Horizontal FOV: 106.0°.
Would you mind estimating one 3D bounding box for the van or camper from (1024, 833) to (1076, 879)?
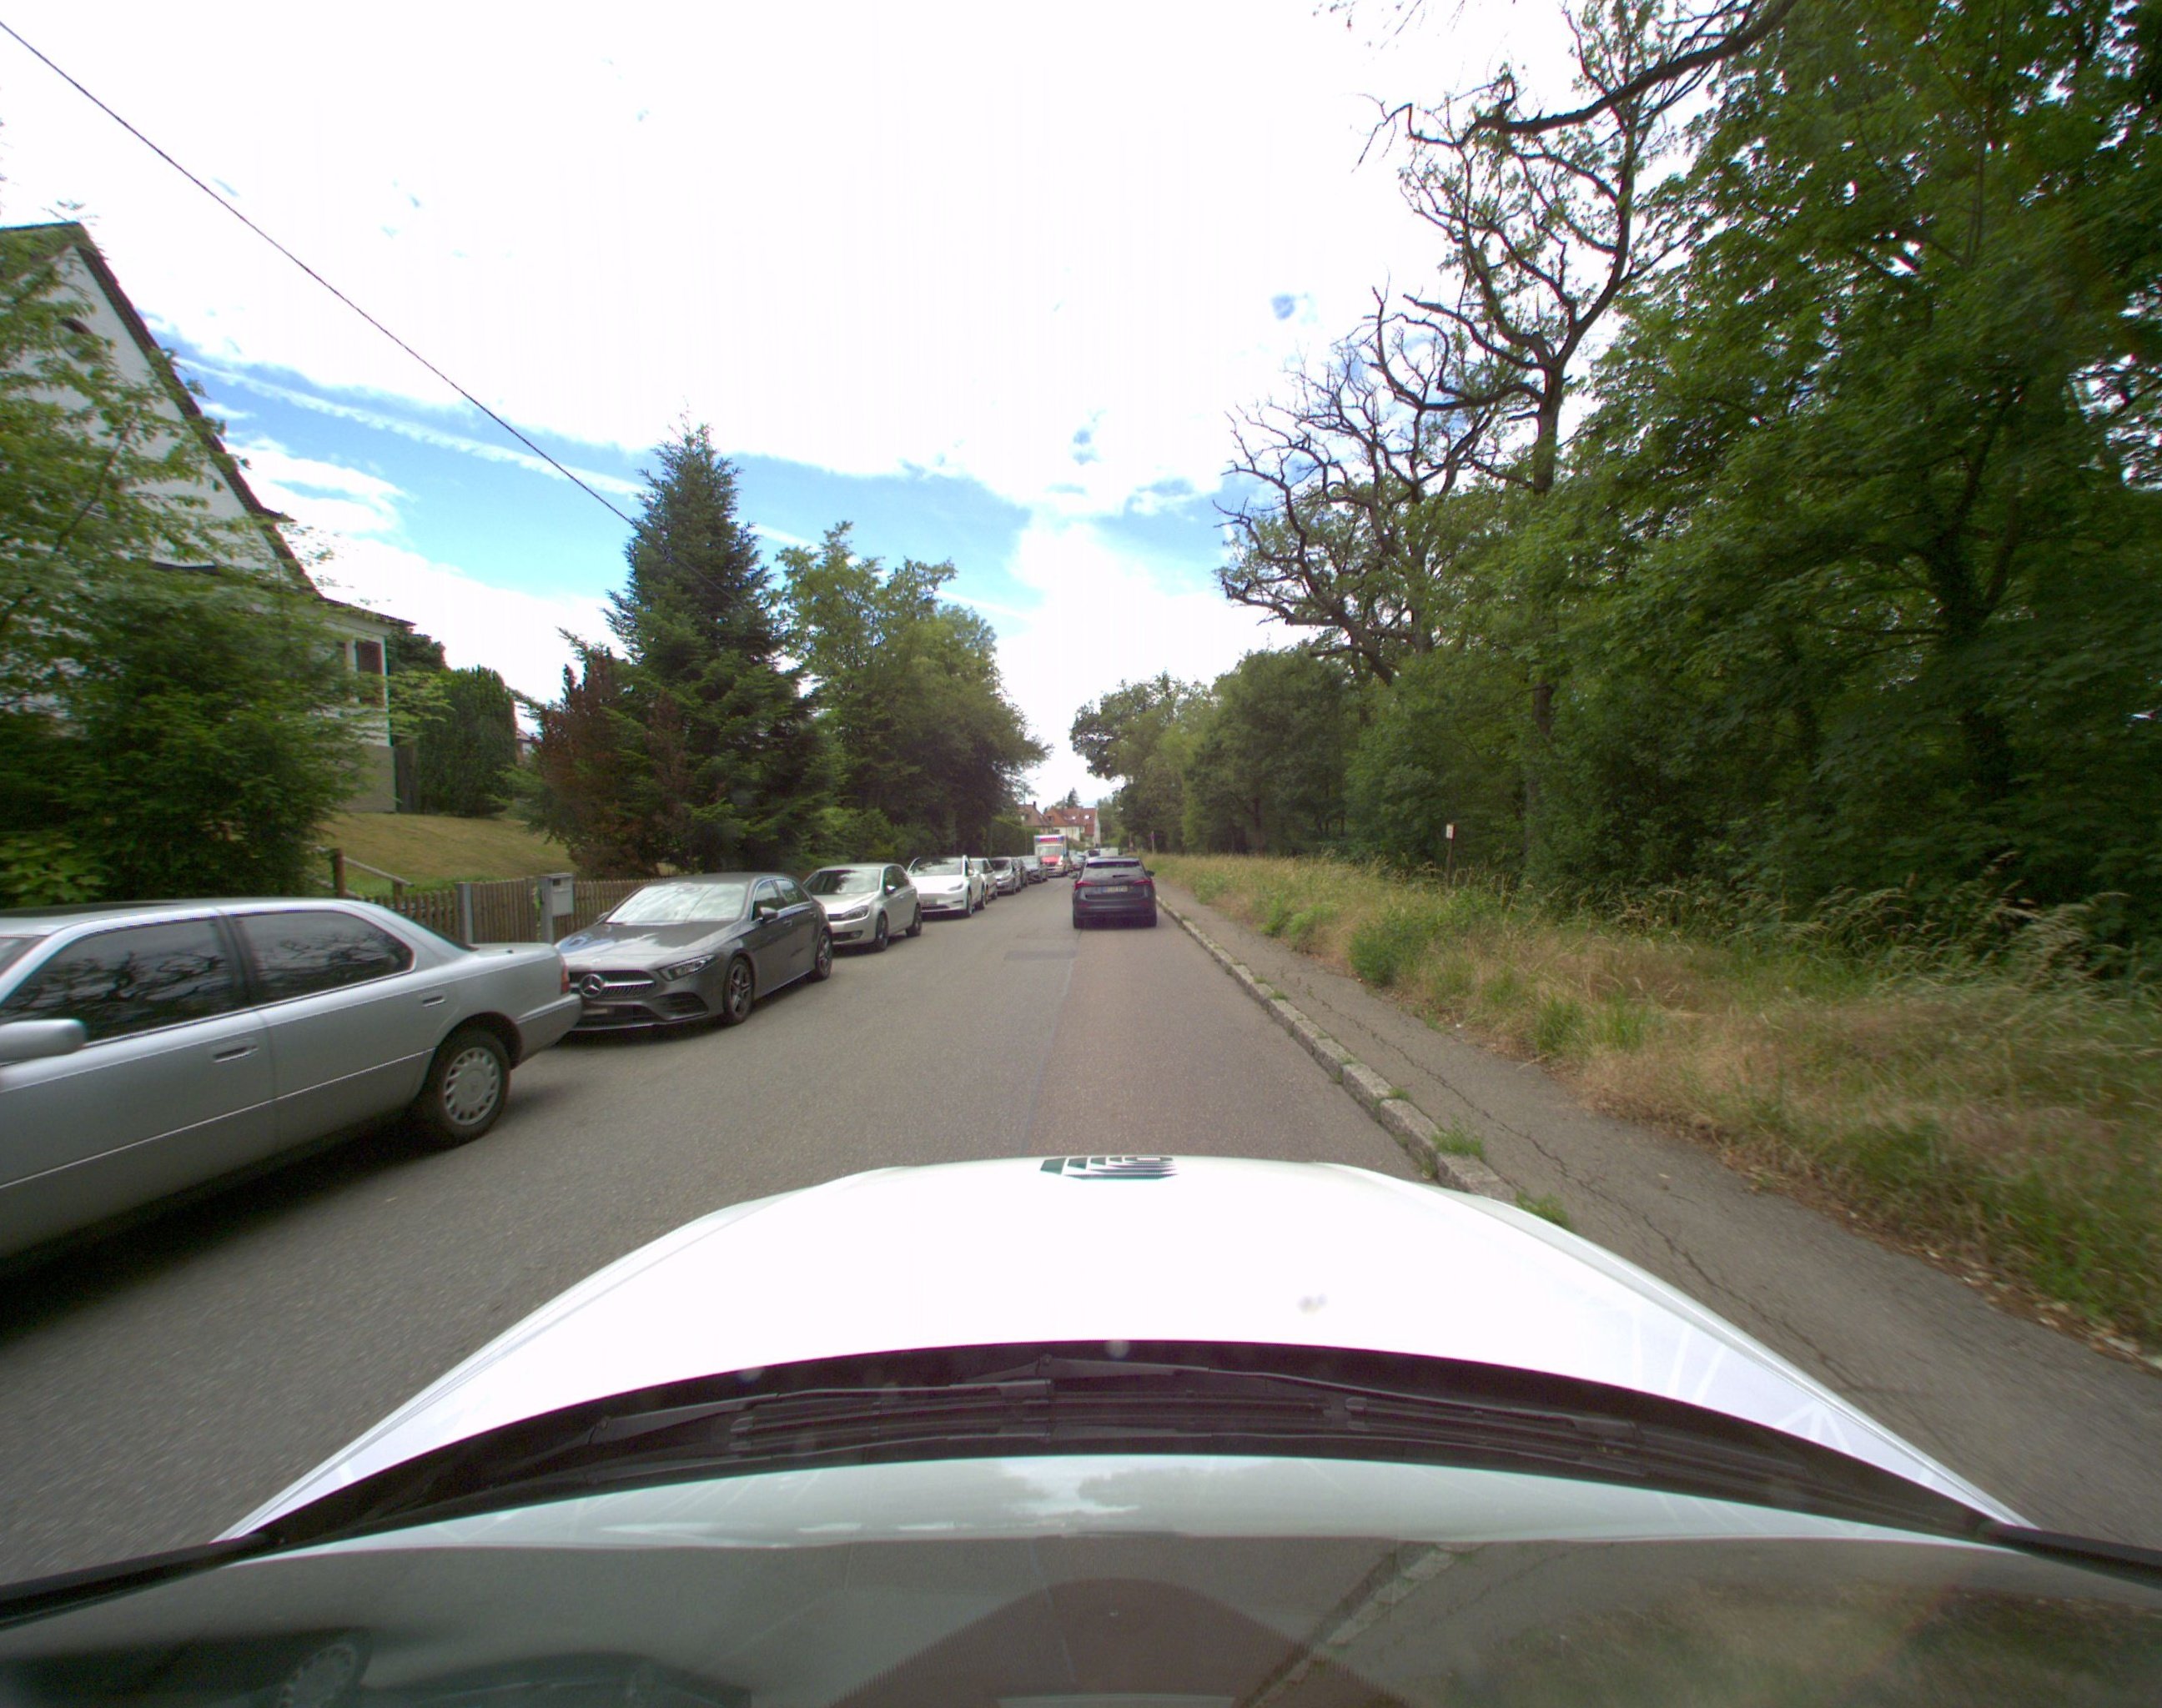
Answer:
[{"bbox_3d":[-2.011,0.123,55.471,2.444,2.895,7.180,-2,0,6],"label":"van or camper"}]

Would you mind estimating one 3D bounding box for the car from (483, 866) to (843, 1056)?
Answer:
[{"bbox_3d":[-4.066,0.907,8.859,1.729,1.439,4.260,-2,0,-1],"label":"car"}]

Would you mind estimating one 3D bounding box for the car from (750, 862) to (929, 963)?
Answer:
[{"bbox_3d":[-4.144,0.930,14.712,1.828,1.439,4.118,-3,0,1],"label":"car"}]

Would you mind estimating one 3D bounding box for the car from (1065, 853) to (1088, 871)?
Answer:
[{"bbox_3d":[-0.354,0.707,72.387,1.756,1.446,4.477,-2,0,3],"label":"car"}]

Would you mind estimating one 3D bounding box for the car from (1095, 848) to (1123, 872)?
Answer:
[{"bbox_3d":[2.356,0.492,69.785,2.066,1.922,4.919,-1,0,-2],"label":"car"}]

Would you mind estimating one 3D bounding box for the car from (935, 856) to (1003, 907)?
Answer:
[{"bbox_3d":[-3.731,0.881,27.675,1.715,1.505,3.816,-3,0,-1],"label":"car"}]

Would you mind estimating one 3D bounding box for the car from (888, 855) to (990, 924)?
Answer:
[{"bbox_3d":[-3.682,0.856,21.943,1.911,1.562,4.602,-3,0,-1],"label":"car"}]

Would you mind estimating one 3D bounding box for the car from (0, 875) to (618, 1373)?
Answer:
[{"bbox_3d":[-4.254,0.906,3.342,1.842,1.439,4.909,-2,0,0],"label":"car"}]

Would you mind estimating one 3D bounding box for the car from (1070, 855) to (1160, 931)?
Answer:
[{"bbox_3d":[0.637,0.763,18.056,1.723,1.439,4.321,-1,0,-1],"label":"car"}]

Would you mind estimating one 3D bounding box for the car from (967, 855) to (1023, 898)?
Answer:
[{"bbox_3d":[-3.351,0.850,32.286,1.715,1.505,4.007,-3,0,0],"label":"car"}]

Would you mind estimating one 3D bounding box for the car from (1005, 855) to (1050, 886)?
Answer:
[{"bbox_3d":[-2.901,0.857,45.171,1.790,1.505,4.867,-3,0,3],"label":"car"}]

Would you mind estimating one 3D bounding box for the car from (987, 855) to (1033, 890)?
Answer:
[{"bbox_3d":[-3.363,0.868,39.268,1.714,1.505,4.061,-3,0,1],"label":"car"}]
